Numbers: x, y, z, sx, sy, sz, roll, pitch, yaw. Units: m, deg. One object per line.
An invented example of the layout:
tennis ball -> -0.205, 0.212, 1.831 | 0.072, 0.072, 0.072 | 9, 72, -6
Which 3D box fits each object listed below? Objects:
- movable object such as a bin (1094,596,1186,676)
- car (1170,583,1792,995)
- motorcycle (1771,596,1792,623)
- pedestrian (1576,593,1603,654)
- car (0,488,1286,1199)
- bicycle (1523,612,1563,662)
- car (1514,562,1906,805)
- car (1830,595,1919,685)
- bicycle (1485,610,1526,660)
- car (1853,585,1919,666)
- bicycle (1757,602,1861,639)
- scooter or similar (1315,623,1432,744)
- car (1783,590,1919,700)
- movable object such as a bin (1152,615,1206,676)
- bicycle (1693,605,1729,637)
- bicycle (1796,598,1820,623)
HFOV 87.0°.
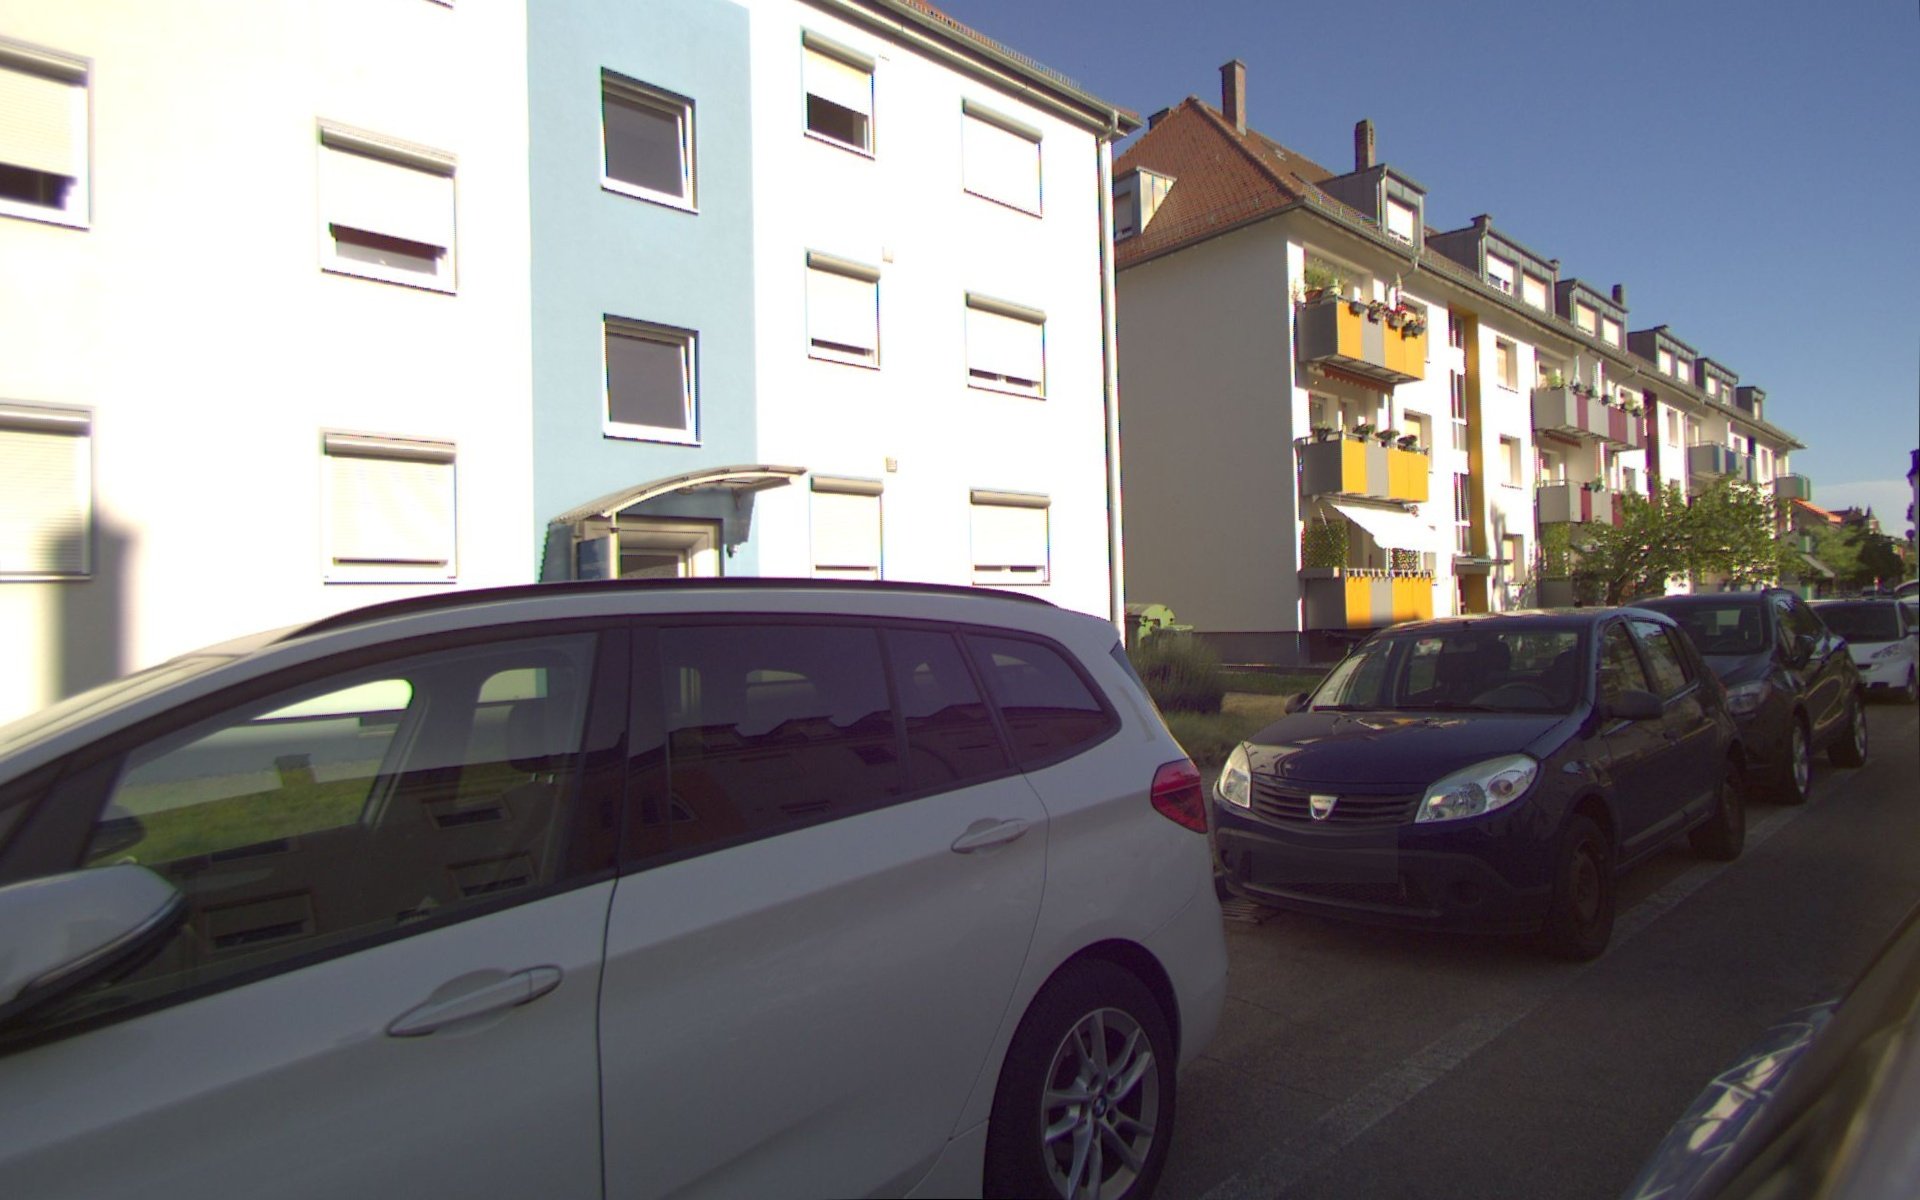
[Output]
movable object such as a bin -> 3.468, 0.661, 19.540 | 1.087, 1.424, 1.330 | -3, 2, -40
car -> 3.138, 0.701, 5.698 | 4.083, 1.518, 1.644 | 0, -1, -40
motorcycle -> 38.411, 0.426, 47.333 | 1.942, 1.254, 0.442 | 0, 0, -41
pedestrian -> 15.827, 0.580, 25.434 | 0.354, 1.513, 0.451 | -2, 0, -40
car -> -1.287, 0.710, 2.028 | 4.359, 1.595, 1.692 | 0, -3, -42
bicycle -> 13.431, 0.830, 23.309 | 1.276, 1.100, 0.404 | 0, 0, -41
car -> 6.850, 0.602, 9.064 | 4.389, 1.669, 1.786 | 0, -3, -40
car -> 17.423, 0.675, 18.543 | 3.916, 1.510, 1.695 | 0, -3, -42
bicycle -> 13.011, 0.830, 24.140 | 1.250, 1.147, 0.404 | 0, -1, -41
car -> 21.337, 0.498, 22.017 | 4.905, 1.634, 1.997 | 0, -3, -39
bicycle -> 27.441, 0.657, 32.769 | 0.862, 1.144, 2.432 | 0, 0, -34
scooter or similar -> 4.456, 0.852, 10.869 | 1.561, 1.163, 0.484 | 0, 1, -41
car -> 14.265, 0.667, 15.780 | 2.886, 1.549, 1.483 | -1, -3, -37
movable object such as a bin -> 4.052, 0.829, 18.722 | 0.744, 1.047, 0.644 | -3, 2, -40
bicycle -> 26.046, 0.711, 35.089 | 2.248, 1.062, 0.521 | 0, 1, -41
bicycle -> 38.925, 0.477, 46.453 | 1.841, 1.130, 0.597 | 0, -1, -42
